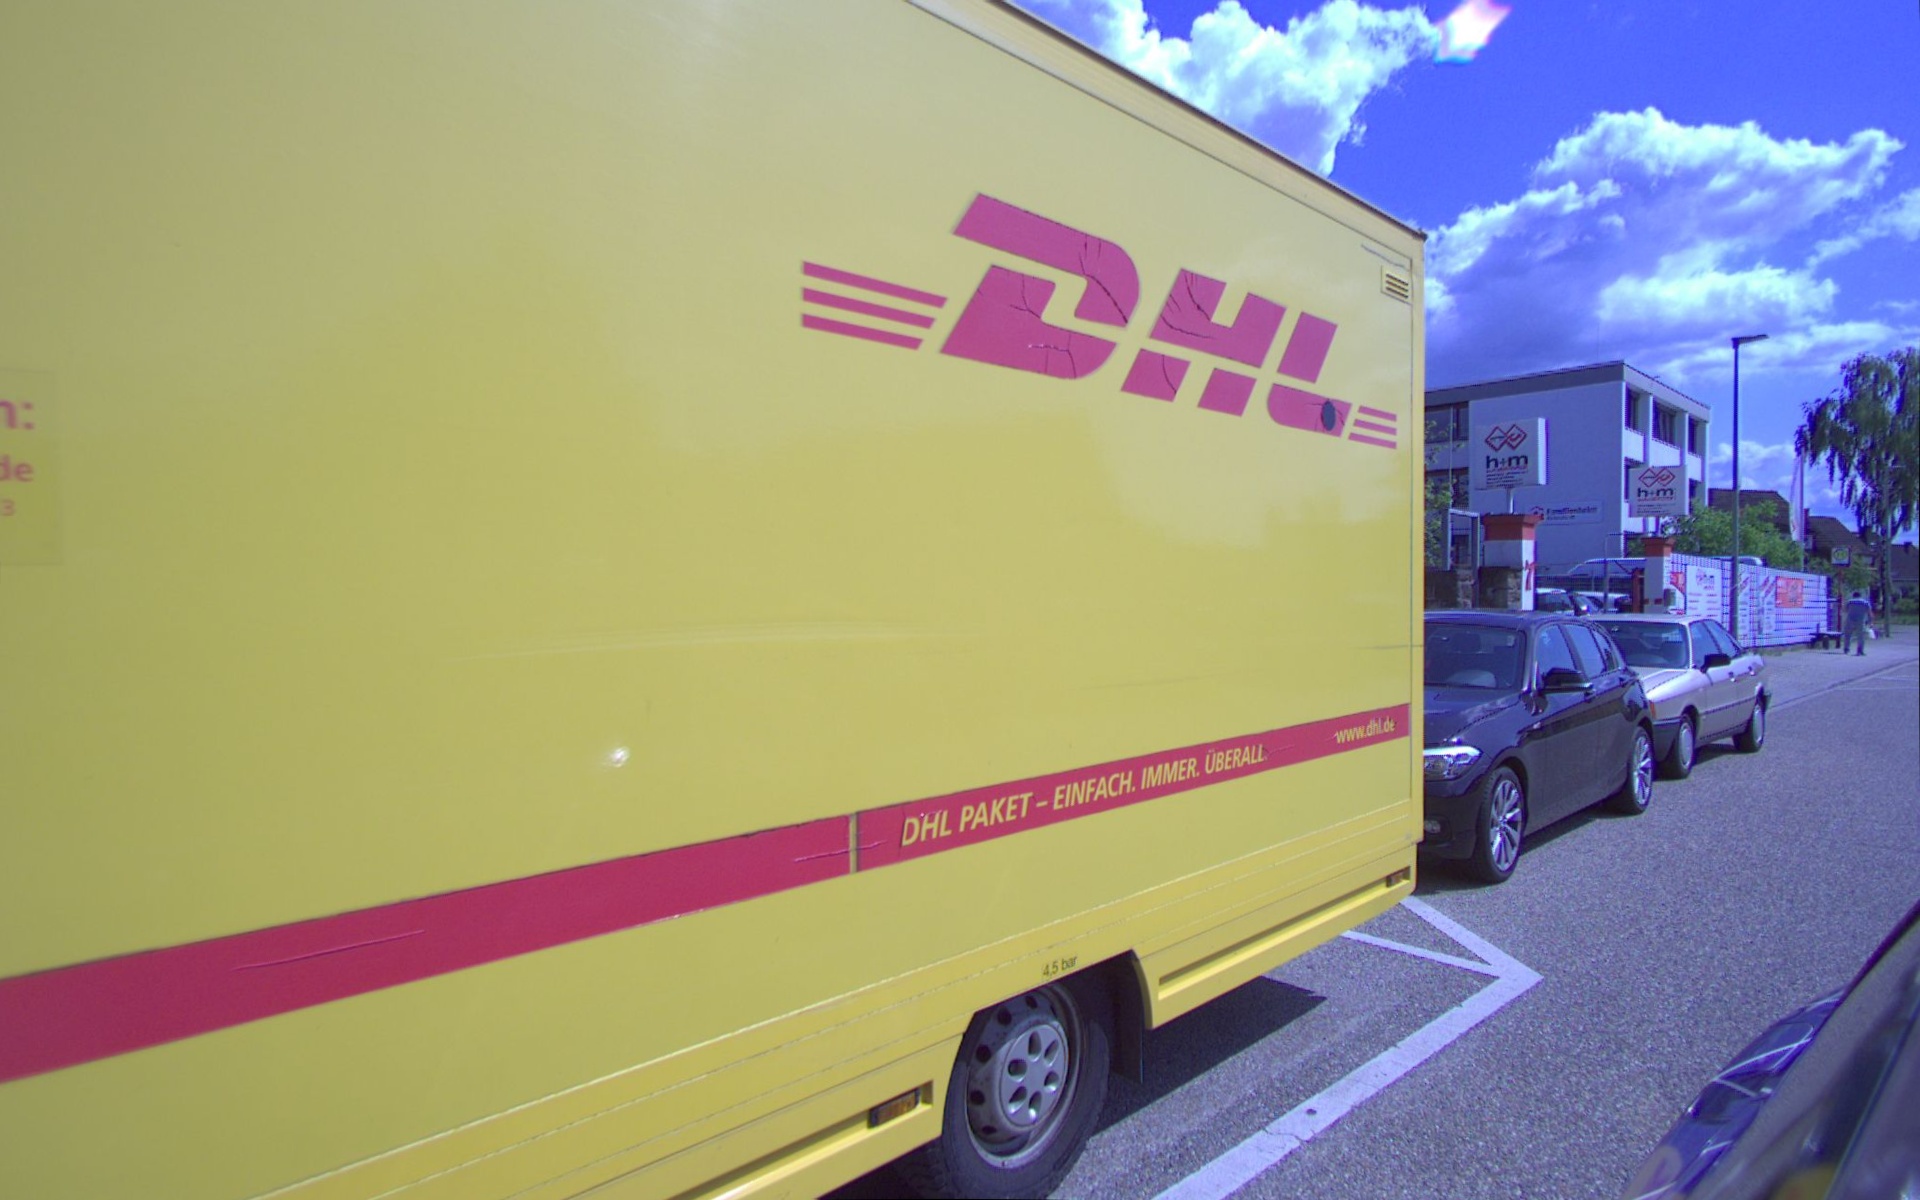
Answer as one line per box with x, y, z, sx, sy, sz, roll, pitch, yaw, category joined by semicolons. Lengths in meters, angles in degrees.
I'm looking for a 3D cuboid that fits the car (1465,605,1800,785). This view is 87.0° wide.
6.857;0.777;10.128;4.345;1.404;1.654;0;-1;-41;car

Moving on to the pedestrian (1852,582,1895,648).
24.955;0.408;27.646;0.514;1.717;0.716;0;5;-45;pedestrian

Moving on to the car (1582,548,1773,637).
23.214;-0.253;32.862;4.904;2.685;2.042;1;0;42;car

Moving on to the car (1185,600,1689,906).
3.475;0.750;6.947;4.211;1.459;1.664;0;-1;-43;car

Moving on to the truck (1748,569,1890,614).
51.998;-0.497;61.437;5.991;2.610;2.546;0;0;24;truck

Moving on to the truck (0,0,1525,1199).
-1.380;-0.027;2.279;7.066;2.978;2.477;0;-1;-42;truck
